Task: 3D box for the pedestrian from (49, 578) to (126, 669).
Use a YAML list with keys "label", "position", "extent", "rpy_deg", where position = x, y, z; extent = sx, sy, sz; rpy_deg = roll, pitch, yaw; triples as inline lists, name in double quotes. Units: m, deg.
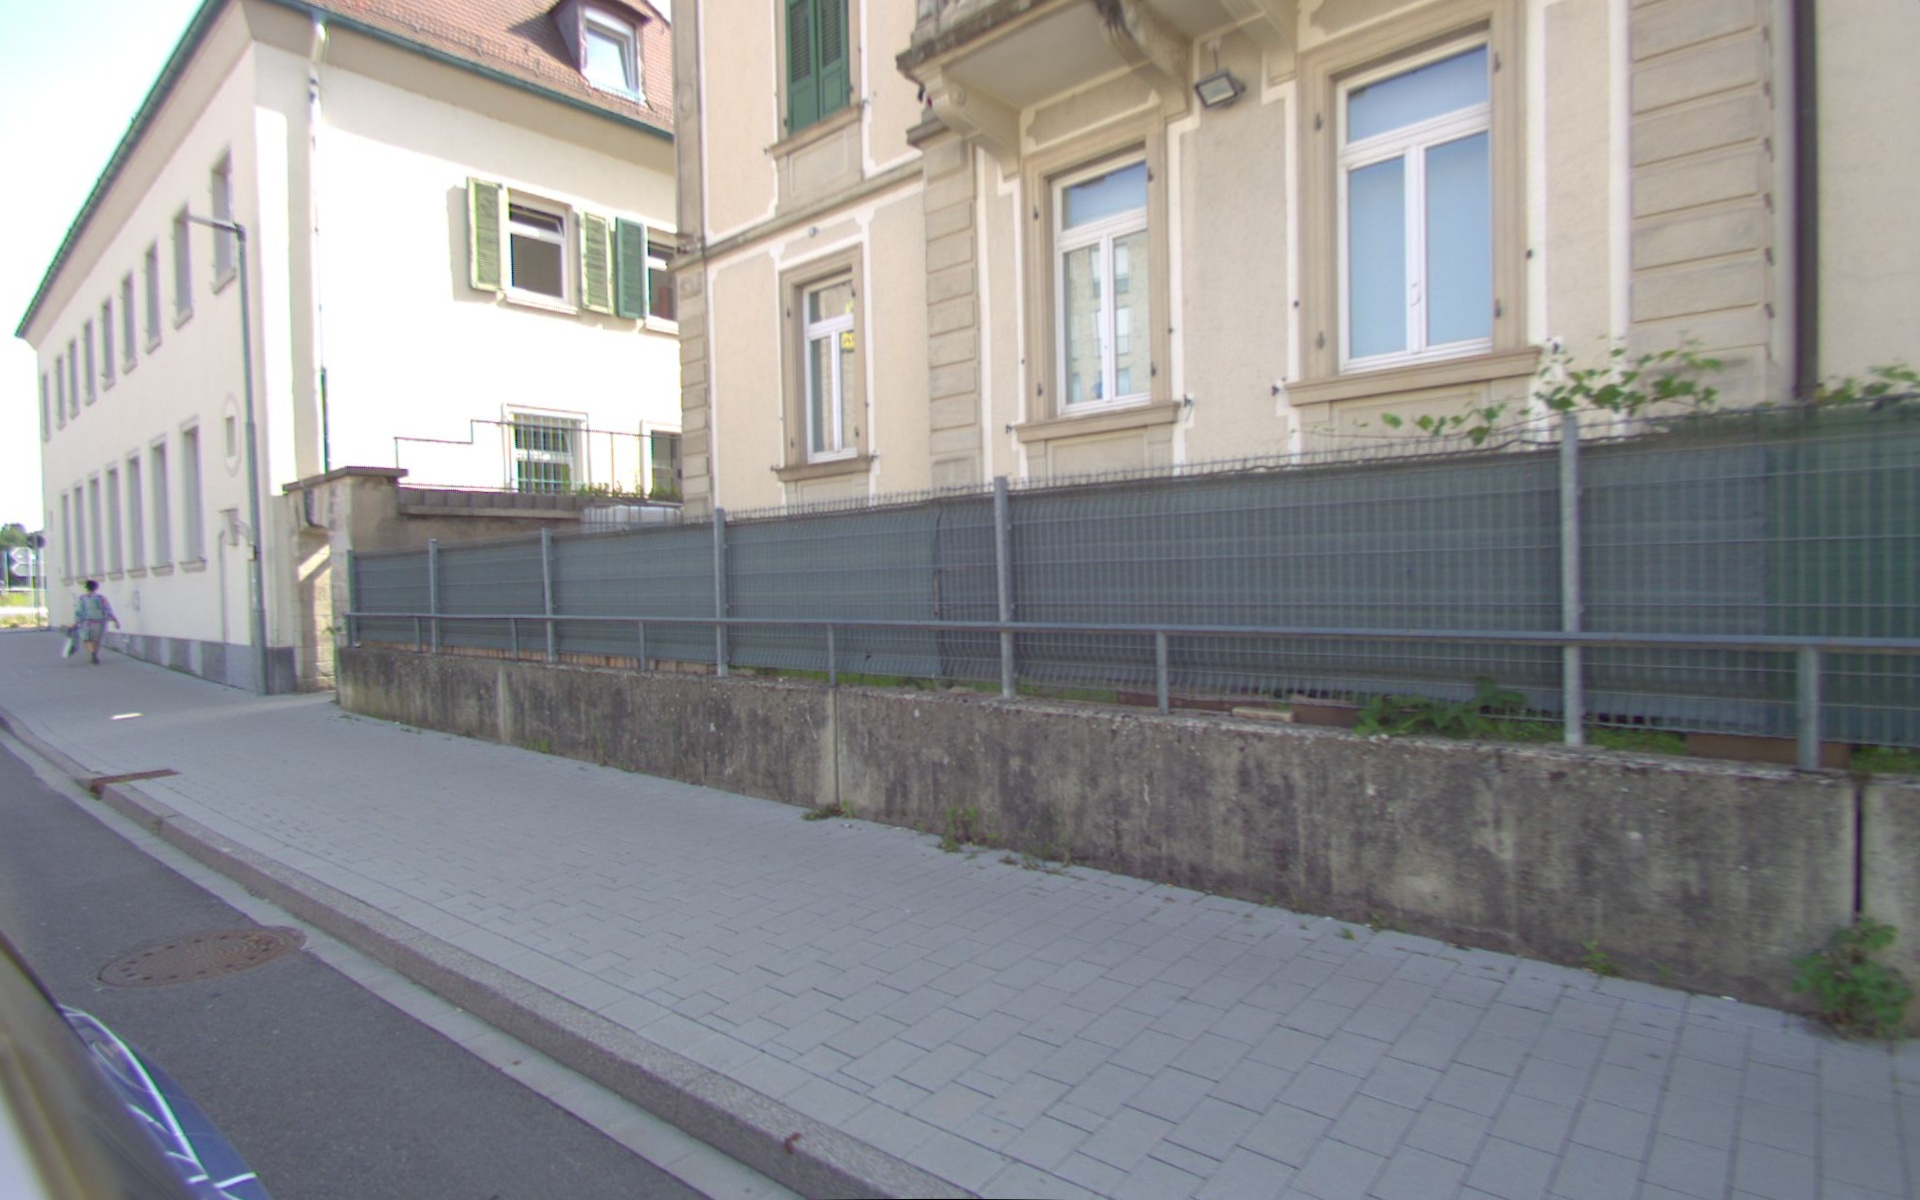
- label: "pedestrian"
  position: [-16.592, 0.427, 19.249]
  extent: [0.758, 1.643, 0.948]
  rpy_deg: [0, 3, 41]
